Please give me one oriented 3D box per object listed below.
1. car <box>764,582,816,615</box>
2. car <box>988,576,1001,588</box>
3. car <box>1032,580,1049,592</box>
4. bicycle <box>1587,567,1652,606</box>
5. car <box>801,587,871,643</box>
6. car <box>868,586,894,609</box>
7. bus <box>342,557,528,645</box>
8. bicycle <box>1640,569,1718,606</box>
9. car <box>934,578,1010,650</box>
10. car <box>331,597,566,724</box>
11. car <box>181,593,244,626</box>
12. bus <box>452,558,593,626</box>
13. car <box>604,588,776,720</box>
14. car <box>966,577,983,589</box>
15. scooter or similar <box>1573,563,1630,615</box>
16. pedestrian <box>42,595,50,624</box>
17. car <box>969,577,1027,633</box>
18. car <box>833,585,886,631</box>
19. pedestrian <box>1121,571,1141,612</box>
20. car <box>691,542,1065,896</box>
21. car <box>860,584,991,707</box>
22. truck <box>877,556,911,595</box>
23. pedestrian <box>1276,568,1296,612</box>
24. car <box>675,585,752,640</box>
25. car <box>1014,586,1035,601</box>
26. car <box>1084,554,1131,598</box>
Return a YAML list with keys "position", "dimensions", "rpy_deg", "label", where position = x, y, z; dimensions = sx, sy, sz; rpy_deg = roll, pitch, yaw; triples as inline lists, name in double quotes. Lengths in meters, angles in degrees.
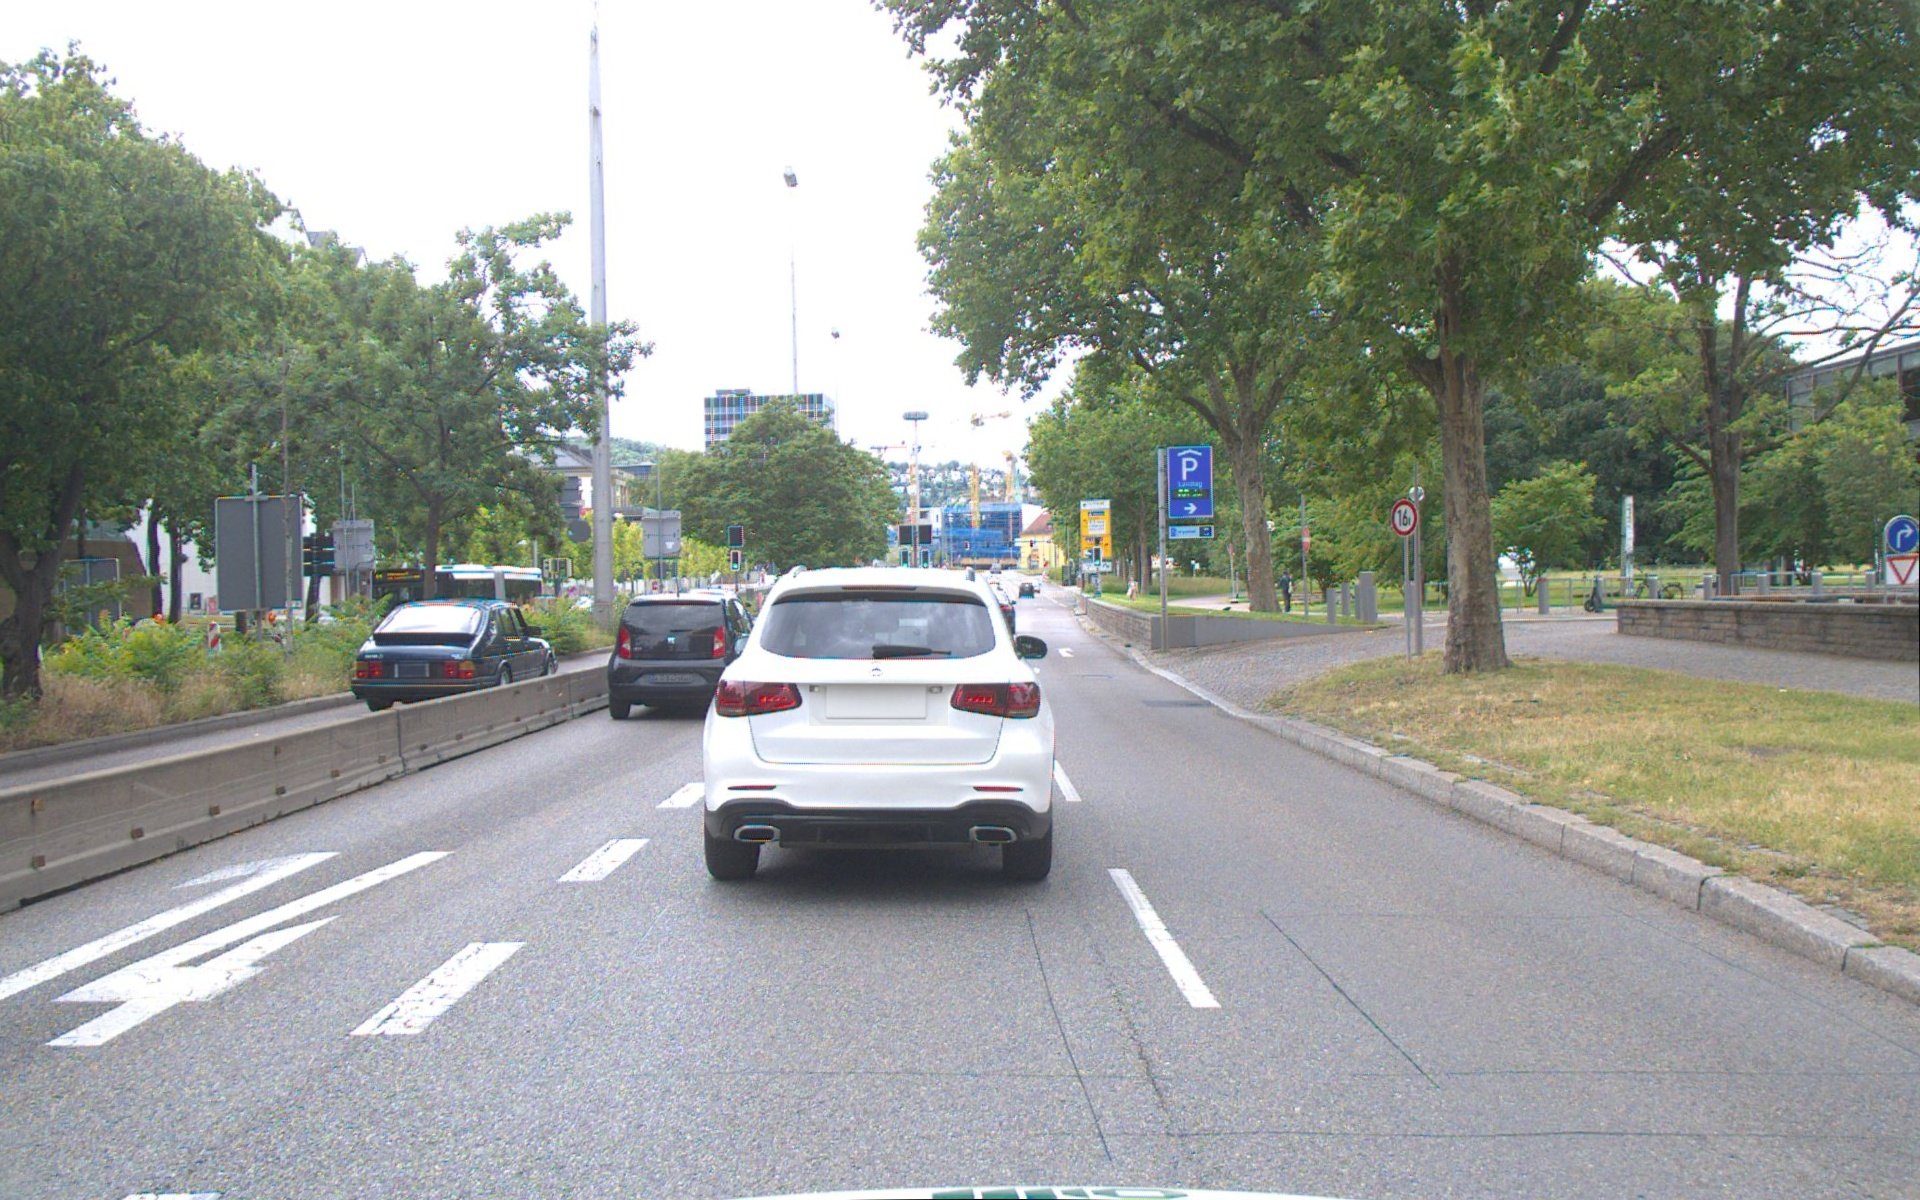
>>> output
- position: [-7.770, -0.076, 75.956]
  dimensions: [1.739, 1.445, 4.002]
  rpy_deg: [-1, 1, 3]
  label: "car"
- position: [5.026, -2.612, 239.713]
  dimensions: [1.722, 1.698, 4.168]
  rpy_deg: [-1, 1, 0]
  label: "car"
- position: [9.610, -1.631, 196.845]
  dimensions: [1.907, 1.343, 4.017]
  rpy_deg: [0, 0, 1]
  label: "car"
- position: [19.078, -0.372, 47.909]
  dimensions: [0.934, 1.082, 2.335]
  rpy_deg: [1, 0, -1]
  label: "bicycle"
- position: [-3.388, 0.387, 45.812]
  dimensions: [1.761, 1.462, 4.019]
  rpy_deg: [0, 0, -2]
  label: "car"
- position: [-5.496, -0.186, 115.156]
  dimensions: [1.625, 1.539, 3.547]
  rpy_deg: [-1, 0, 0]
  label: "car"
- position: [-23.019, -0.138, 73.787]
  dimensions: [3.592, 3.260, 14.277]
  rpy_deg: [-1, 2, 0]
  label: "bus"
- position: [20.177, -0.346, 46.493]
  dimensions: [0.934, 0.992, 2.786]
  rpy_deg: [1, 0, -1]
  label: "bicycle"
- position: [0.249, 0.314, 40.304]
  dimensions: [1.626, 1.668, 3.545]
  rpy_deg: [0, 0, -3]
  label: "car"
- position: [-6.398, 0.690, 21.225]
  dimensions: [1.644, 1.390, 4.542]
  rpy_deg: [-1, 0, -1]
  label: "car"
- position: [-45.087, 0.550, 99.848]
  dimensions: [1.953, 1.948, 3.999]
  rpy_deg: [-1, 0, -1]
  label: "car"
- position: [-23.003, -0.449, 88.059]
  dimensions: [3.592, 3.261, 14.274]
  rpy_deg: [-1, 1, 0]
  label: "bus"
- position: [-3.324, 0.616, 20.958]
  dimensions: [1.575, 1.499, 3.622]
  rpy_deg: [-1, 0, 0]
  label: "car"
- position: [1.666, -1.929, 192.848]
  dimensions: [1.907, 1.343, 4.017]
  rpy_deg: [0, 0, 1]
  label: "car"
- position: [16.086, -0.267, 41.541]
  dimensions: [0.622, 1.267, 2.226]
  rpy_deg: [1, 0, 2]
  label: "scooter or similar"
- position: [-34.324, 0.359, 62.118]
  dimensions: [0.211, 1.097, 0.258]
  rpy_deg: [1, -1, -18]
  label: "pedestrian"
- position: [1.236, 0.140, 55.581]
  dimensions: [1.788, 1.783, 3.999]
  rpy_deg: [-1, 0, -1]
  label: "car"
- position: [-3.731, 0.286, 62.200]
  dimensions: [1.814, 1.656, 4.905]
  rpy_deg: [0, 0, -1]
  label: "car"
- position: [8.597, -0.418, 83.116]
  dimensions: [0.746, 2.049, 0.696]
  rpy_deg: [-1, 0, 36]
  label: "pedestrian"
- position: [-0.333, 0.549, 10.018]
  dimensions: [1.751, 1.653, 4.438]
  rpy_deg: [-1, 0, 1]
  label: "car"
- position: [-0.515, 0.604, 24.453]
  dimensions: [1.759, 1.636, 3.754]
  rpy_deg: [-1, 0, -1]
  label: "car"
- position: [-5.107, -1.895, 128.997]
  dimensions: [2.568, 2.911, 7.077]
  rpy_deg: [0, 0, -1]
  label: "truck"
- position: [12.915, -0.396, 65.536]
  dimensions: [0.743, 1.755, 0.699]
  rpy_deg: [-1, 0, 7]
  label: "pedestrian"
- position: [-6.916, 0.339, 46.760]
  dimensions: [1.627, 1.461, 3.959]
  rpy_deg: [0, 0, -1]
  label: "car"
- position: [6.360, -0.639, 163.202]
  dimensions: [1.907, 1.453, 4.017]
  rpy_deg: [0, 0, 1]
  label: "car"
- position: [7.107, -1.137, 79.902]
  dimensions: [1.952, 2.049, 4.000]
  rpy_deg: [0, 0, 1]
  label: "car"
